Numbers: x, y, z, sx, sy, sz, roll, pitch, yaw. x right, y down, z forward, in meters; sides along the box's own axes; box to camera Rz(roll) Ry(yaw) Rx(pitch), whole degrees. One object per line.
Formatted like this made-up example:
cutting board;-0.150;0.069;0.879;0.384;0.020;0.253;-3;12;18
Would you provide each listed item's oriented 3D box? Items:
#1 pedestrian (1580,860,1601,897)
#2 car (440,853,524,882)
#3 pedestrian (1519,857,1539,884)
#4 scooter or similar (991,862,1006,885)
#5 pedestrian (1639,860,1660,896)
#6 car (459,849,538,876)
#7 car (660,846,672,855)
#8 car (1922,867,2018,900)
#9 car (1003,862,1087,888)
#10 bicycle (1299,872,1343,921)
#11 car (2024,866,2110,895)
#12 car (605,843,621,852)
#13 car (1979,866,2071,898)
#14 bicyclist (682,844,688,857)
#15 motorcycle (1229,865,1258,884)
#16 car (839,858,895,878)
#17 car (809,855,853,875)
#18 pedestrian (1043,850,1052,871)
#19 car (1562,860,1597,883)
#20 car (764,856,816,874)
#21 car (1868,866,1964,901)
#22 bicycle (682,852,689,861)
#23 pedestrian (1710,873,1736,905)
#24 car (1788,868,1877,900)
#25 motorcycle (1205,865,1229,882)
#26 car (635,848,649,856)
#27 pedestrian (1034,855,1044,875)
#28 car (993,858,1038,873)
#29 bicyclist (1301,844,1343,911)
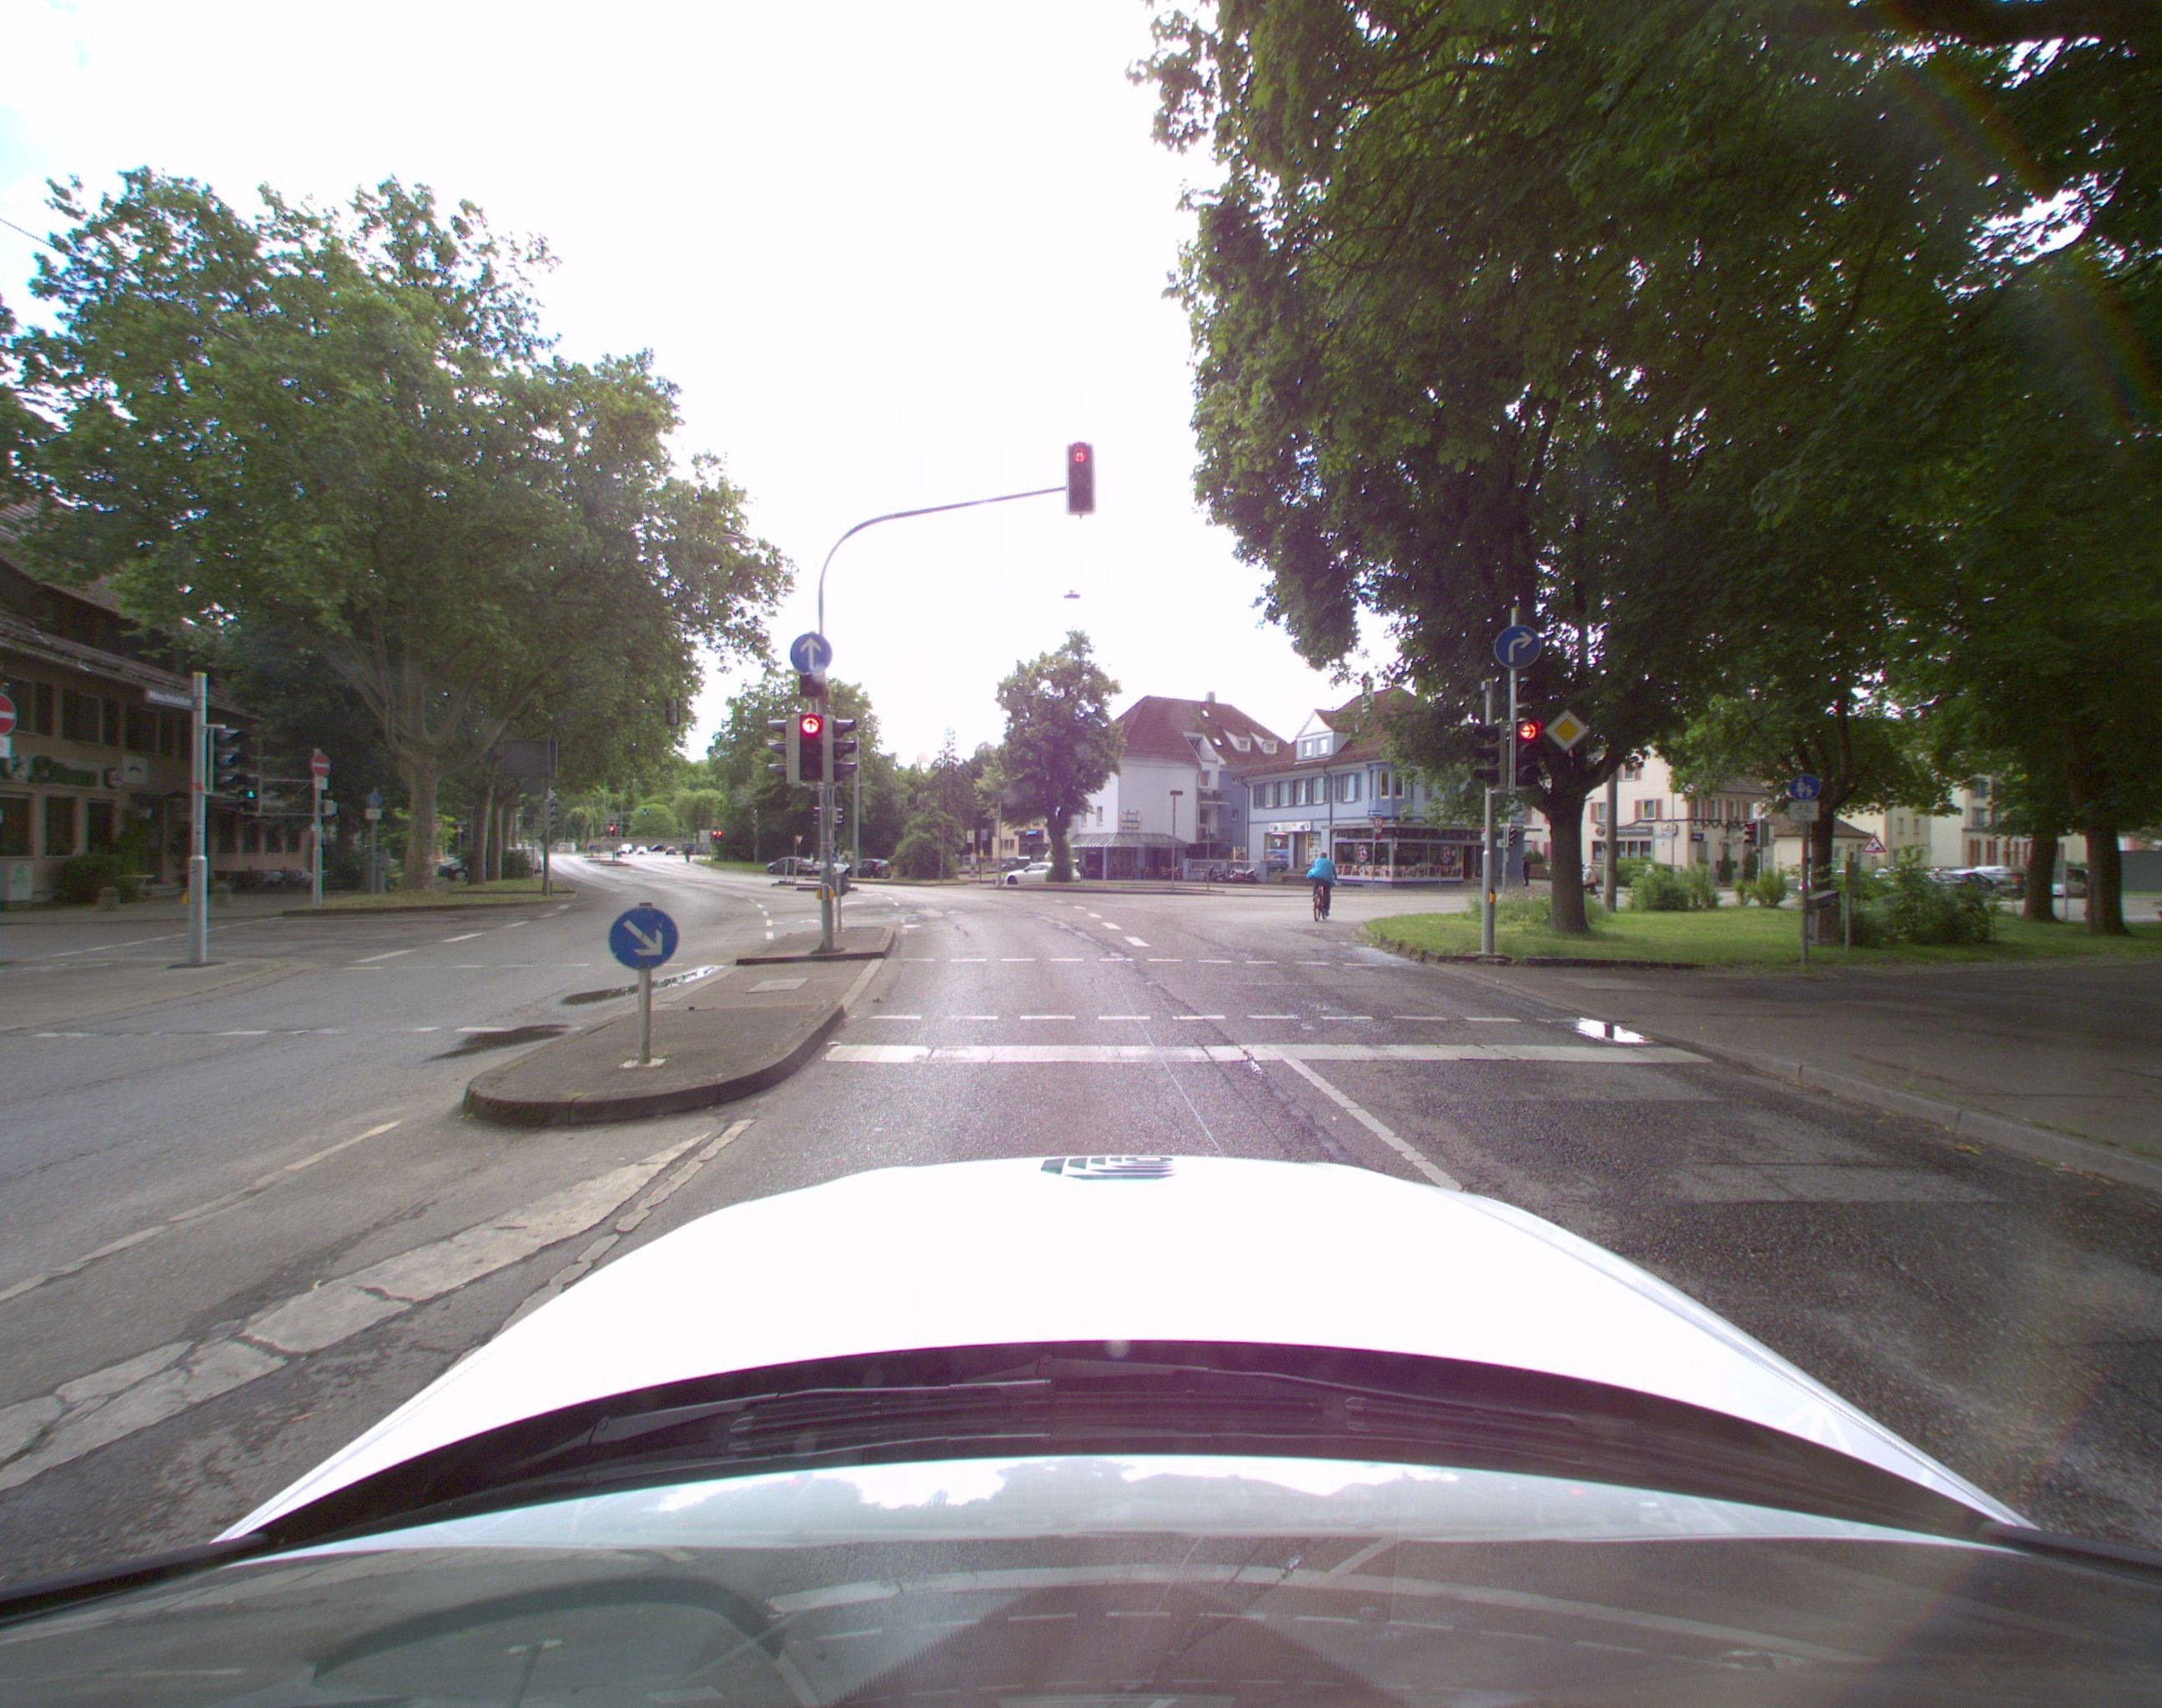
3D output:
pedestrian;22.255;1.056;35.569;0.724;1.560;0.773;-1;-1;32
car;-36.195;0.804;49.354;4.016;1.684;1.979;0;-1;-34
pedestrian;25.816;0.932;46.936;0.671;1.560;0.743;0;-1;-13
scooter or similar;-4.447;1.045;43.969;0.439;1.175;1.442;0;0;10
pedestrian;24.761;1.029;35.500;0.687;1.560;0.671;-1;-1;32
car;-37.055;0.522;51.913;4.016;1.684;1.979;0;-1;-34
car;-82.202;-0.680;161.347;2.006;1.596;3.961;0;-1;-30
car;41.929;1.366;38.425;3.732;1.457;1.640;0;0;-18
car;-2.125;1.189;47.083;4.654;1.410;1.914;0;0;36
bicycle;6.196;1.054;20.967;0.866;1.149;1.963;0;0;23
car;52.128;1.363;43.046;3.732;1.457;1.640;0;0;-18
car;-88.337;-1.246;153.662;3.293;1.486;1.595;-1;-2;42
car;46.643;1.361;40.244;3.732;1.457;1.640;0;0;-18
bicyclist;-42.436;-0.360;87.255;0.543;1.342;0.707;0;-1;-30
motorcycle;9.872;1.235;49.537;1.609;1.088;0.631;-1;-1;33
car;-14.452;0.925;55.005;3.285;1.352;1.791;0;0;28
car;-20.918;0.920;68.333;1.848;1.640;3.767;0;0;12
pedestrian;-2.483;0.503;60.601;0.539;1.560;0.470;-1;-1;15
car;31.879;1.085;52.171;1.867;1.391;3.637;0;0;31
car;-23.339;0.863;65.413;3.742;1.465;1.629;0;0;19
car;37.502;1.288;36.592;3.471;1.457;1.640;0;0;-18
bicycle;-42.445;0.237;87.285;0.559;0.958;2.014;0;0;-29
pedestrian;22.277;1.214;28.267;0.505;1.081;0.514;0;-1;-13
car;31.662;1.242;34.335;3.008;1.267;1.455;0;0;-18
motorcycle;8.558;1.219;51.324;1.441;1.088;0.527;-1;-1;37
car;-84.724;-0.408;157.067;2.988;1.417;1.509;-1;-2;42
pedestrian;-4.264;1.081;82.203;0.838;2.014;1.051;0;0;-13
car;-6.200;1.074;77.016;3.949;1.442;1.742;0;0;-19
bicyclist;6.156;0.587;20.767;0.907;1.651;0.994;0;0;23
